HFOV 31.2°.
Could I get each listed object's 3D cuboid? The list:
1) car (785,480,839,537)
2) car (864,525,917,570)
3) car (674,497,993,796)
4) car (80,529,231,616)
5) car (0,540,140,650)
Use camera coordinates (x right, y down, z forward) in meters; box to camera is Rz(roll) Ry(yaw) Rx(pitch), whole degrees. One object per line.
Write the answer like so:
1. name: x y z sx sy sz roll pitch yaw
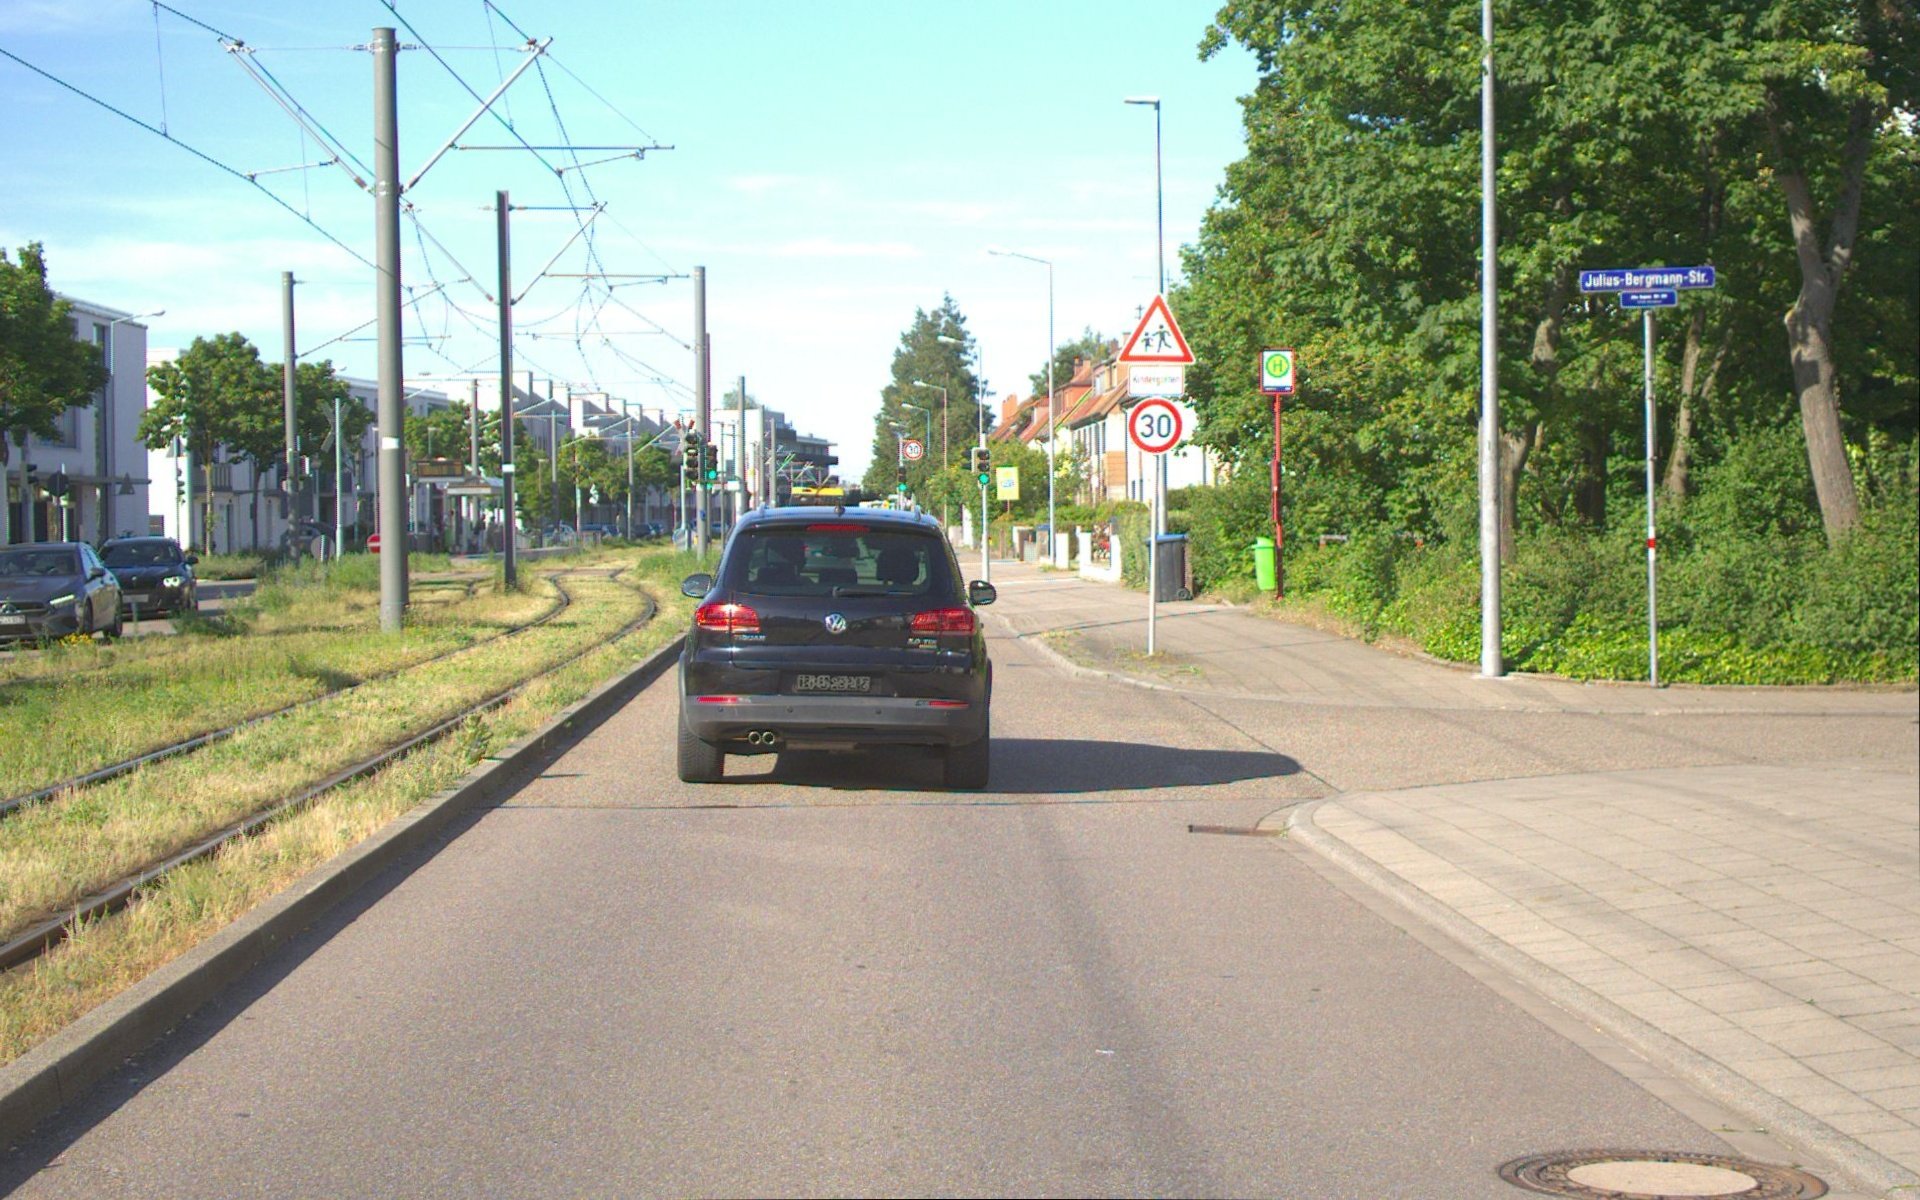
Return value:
1. car: -6.791 -4.183 158.273 2.394 2.556 5.530 -1 1 -1
2. car: -2.633 -1.992 129.520 1.775 1.664 4.001 -1 1 -4
3. car: -0.842 0.224 21.363 1.775 1.664 4.001 1 1 -4
4. car: -14.493 -0.521 62.149 1.762 1.439 4.918 -2 1 -3
5. car: -12.599 -0.086 47.256 1.688 1.384 4.388 -2 1 -2
